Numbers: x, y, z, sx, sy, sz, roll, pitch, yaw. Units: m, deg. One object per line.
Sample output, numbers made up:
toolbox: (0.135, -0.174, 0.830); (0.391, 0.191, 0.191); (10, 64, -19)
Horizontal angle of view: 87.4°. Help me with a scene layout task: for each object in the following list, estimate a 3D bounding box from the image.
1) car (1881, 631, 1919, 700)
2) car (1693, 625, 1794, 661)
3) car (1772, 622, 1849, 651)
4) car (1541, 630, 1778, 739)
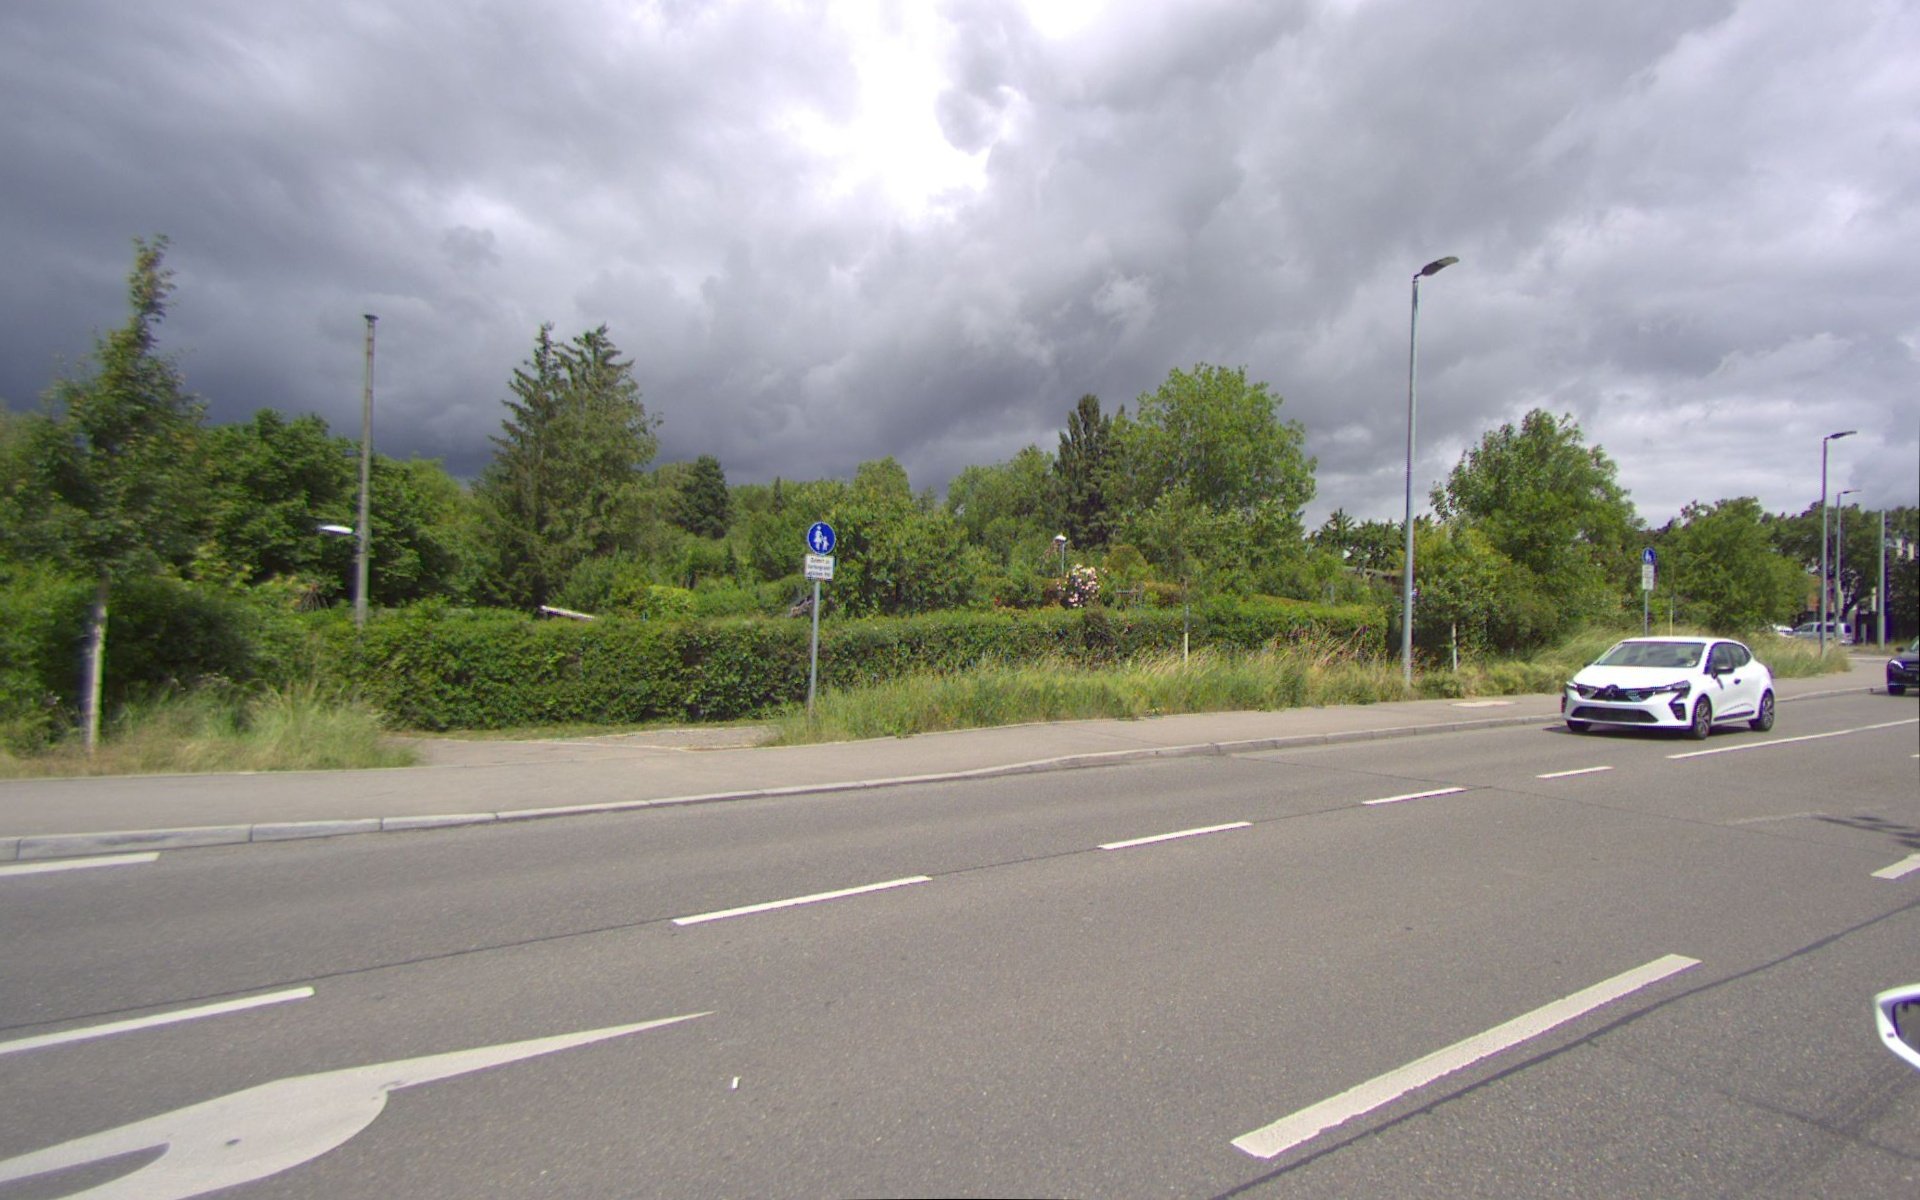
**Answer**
car: (25.441, 1.660, 25.653); (4.486, 1.676, 1.810); (2, -3, -34)
car: (52.129, 2.853, 66.926); (1.890, 1.963, 4.927); (2, 1, -32)
car: (63.279, 2.778, 74.798); (1.977, 2.039, 3.968); (3, -4, -31)
car: (10.669, 1.223, 15.248); (3.861, 1.461, 1.755); (2, -3, -35)
